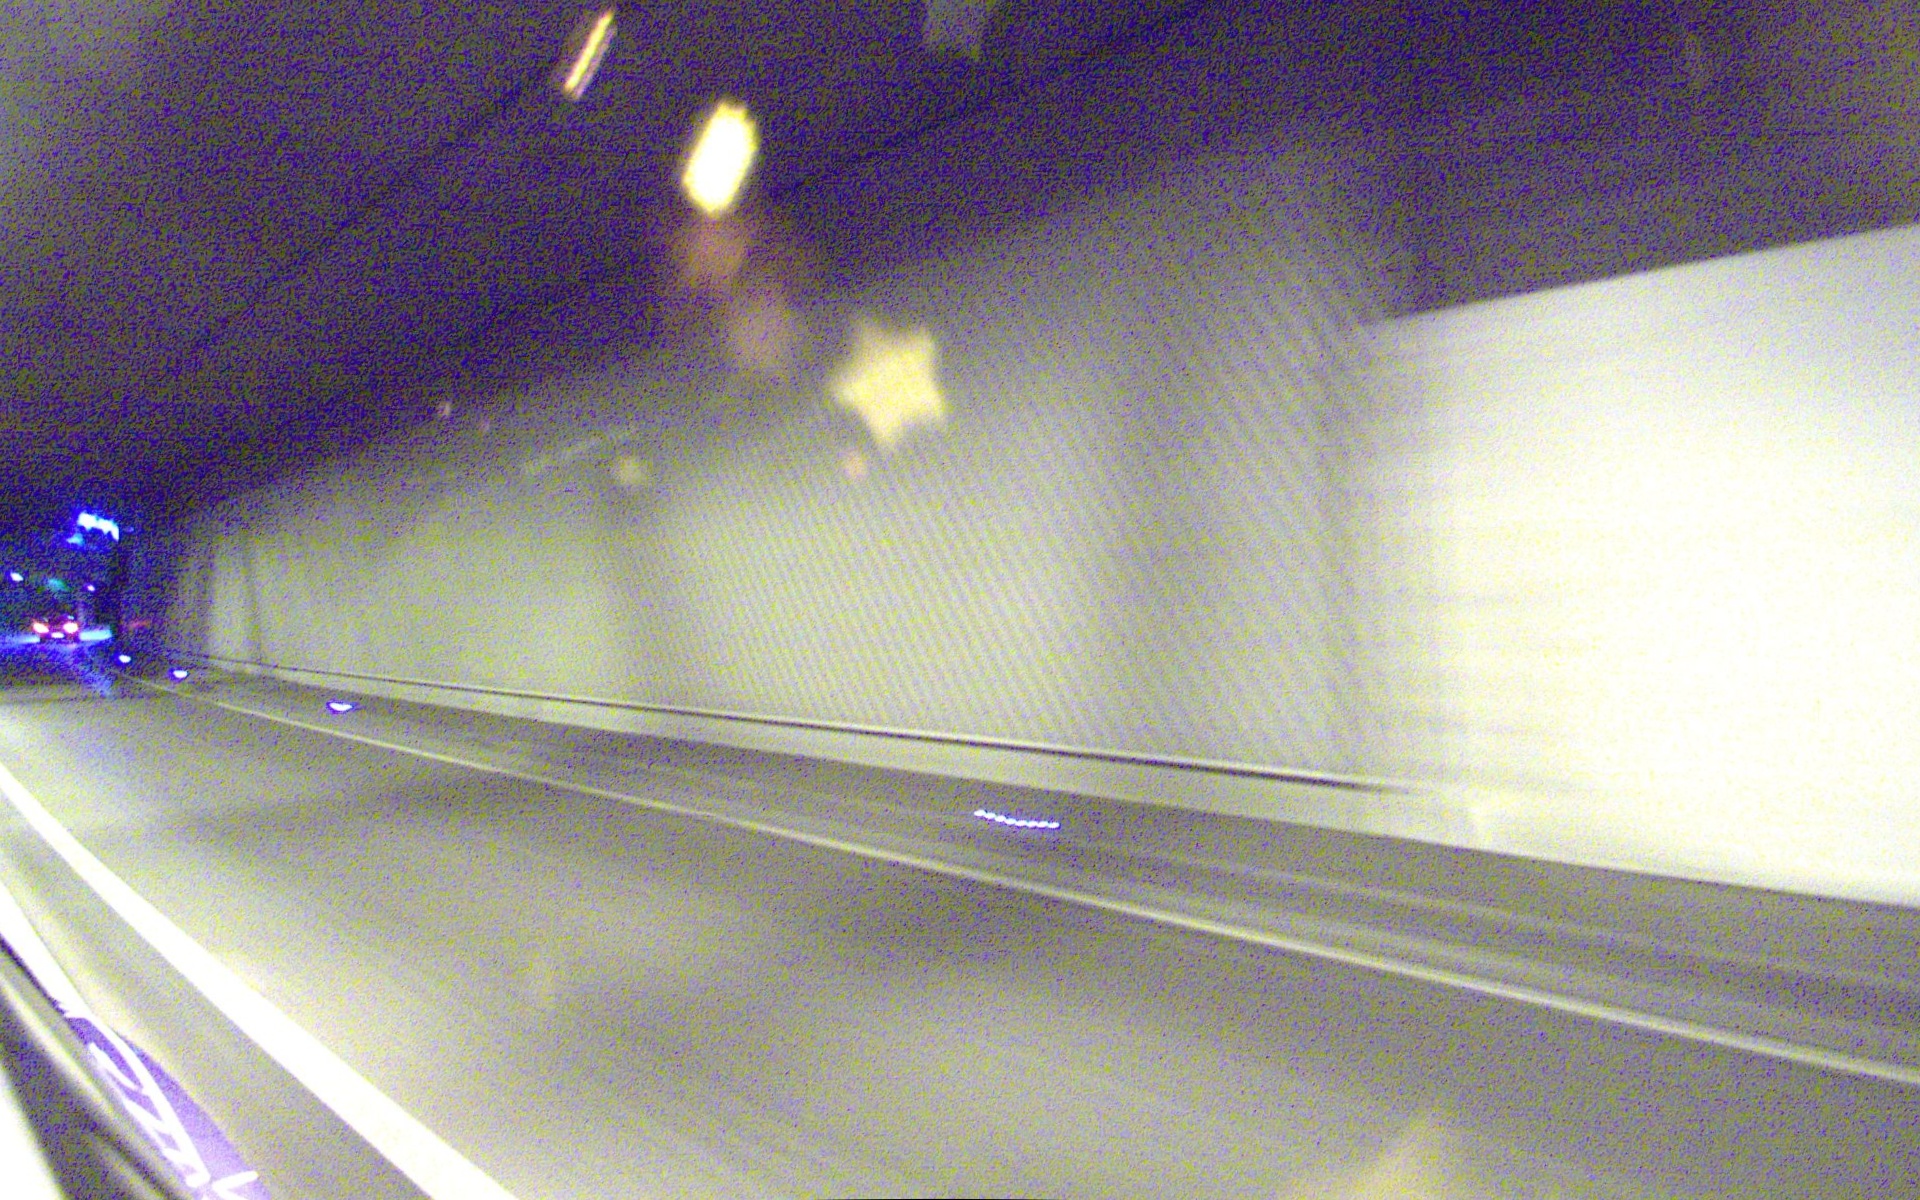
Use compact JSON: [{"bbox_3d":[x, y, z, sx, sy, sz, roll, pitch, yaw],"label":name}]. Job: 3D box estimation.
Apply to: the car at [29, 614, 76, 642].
[{"bbox_3d":[-50.430,1.513,56.299,1.694,1.453,4.401,-2,0,-39],"label":"car"}]
